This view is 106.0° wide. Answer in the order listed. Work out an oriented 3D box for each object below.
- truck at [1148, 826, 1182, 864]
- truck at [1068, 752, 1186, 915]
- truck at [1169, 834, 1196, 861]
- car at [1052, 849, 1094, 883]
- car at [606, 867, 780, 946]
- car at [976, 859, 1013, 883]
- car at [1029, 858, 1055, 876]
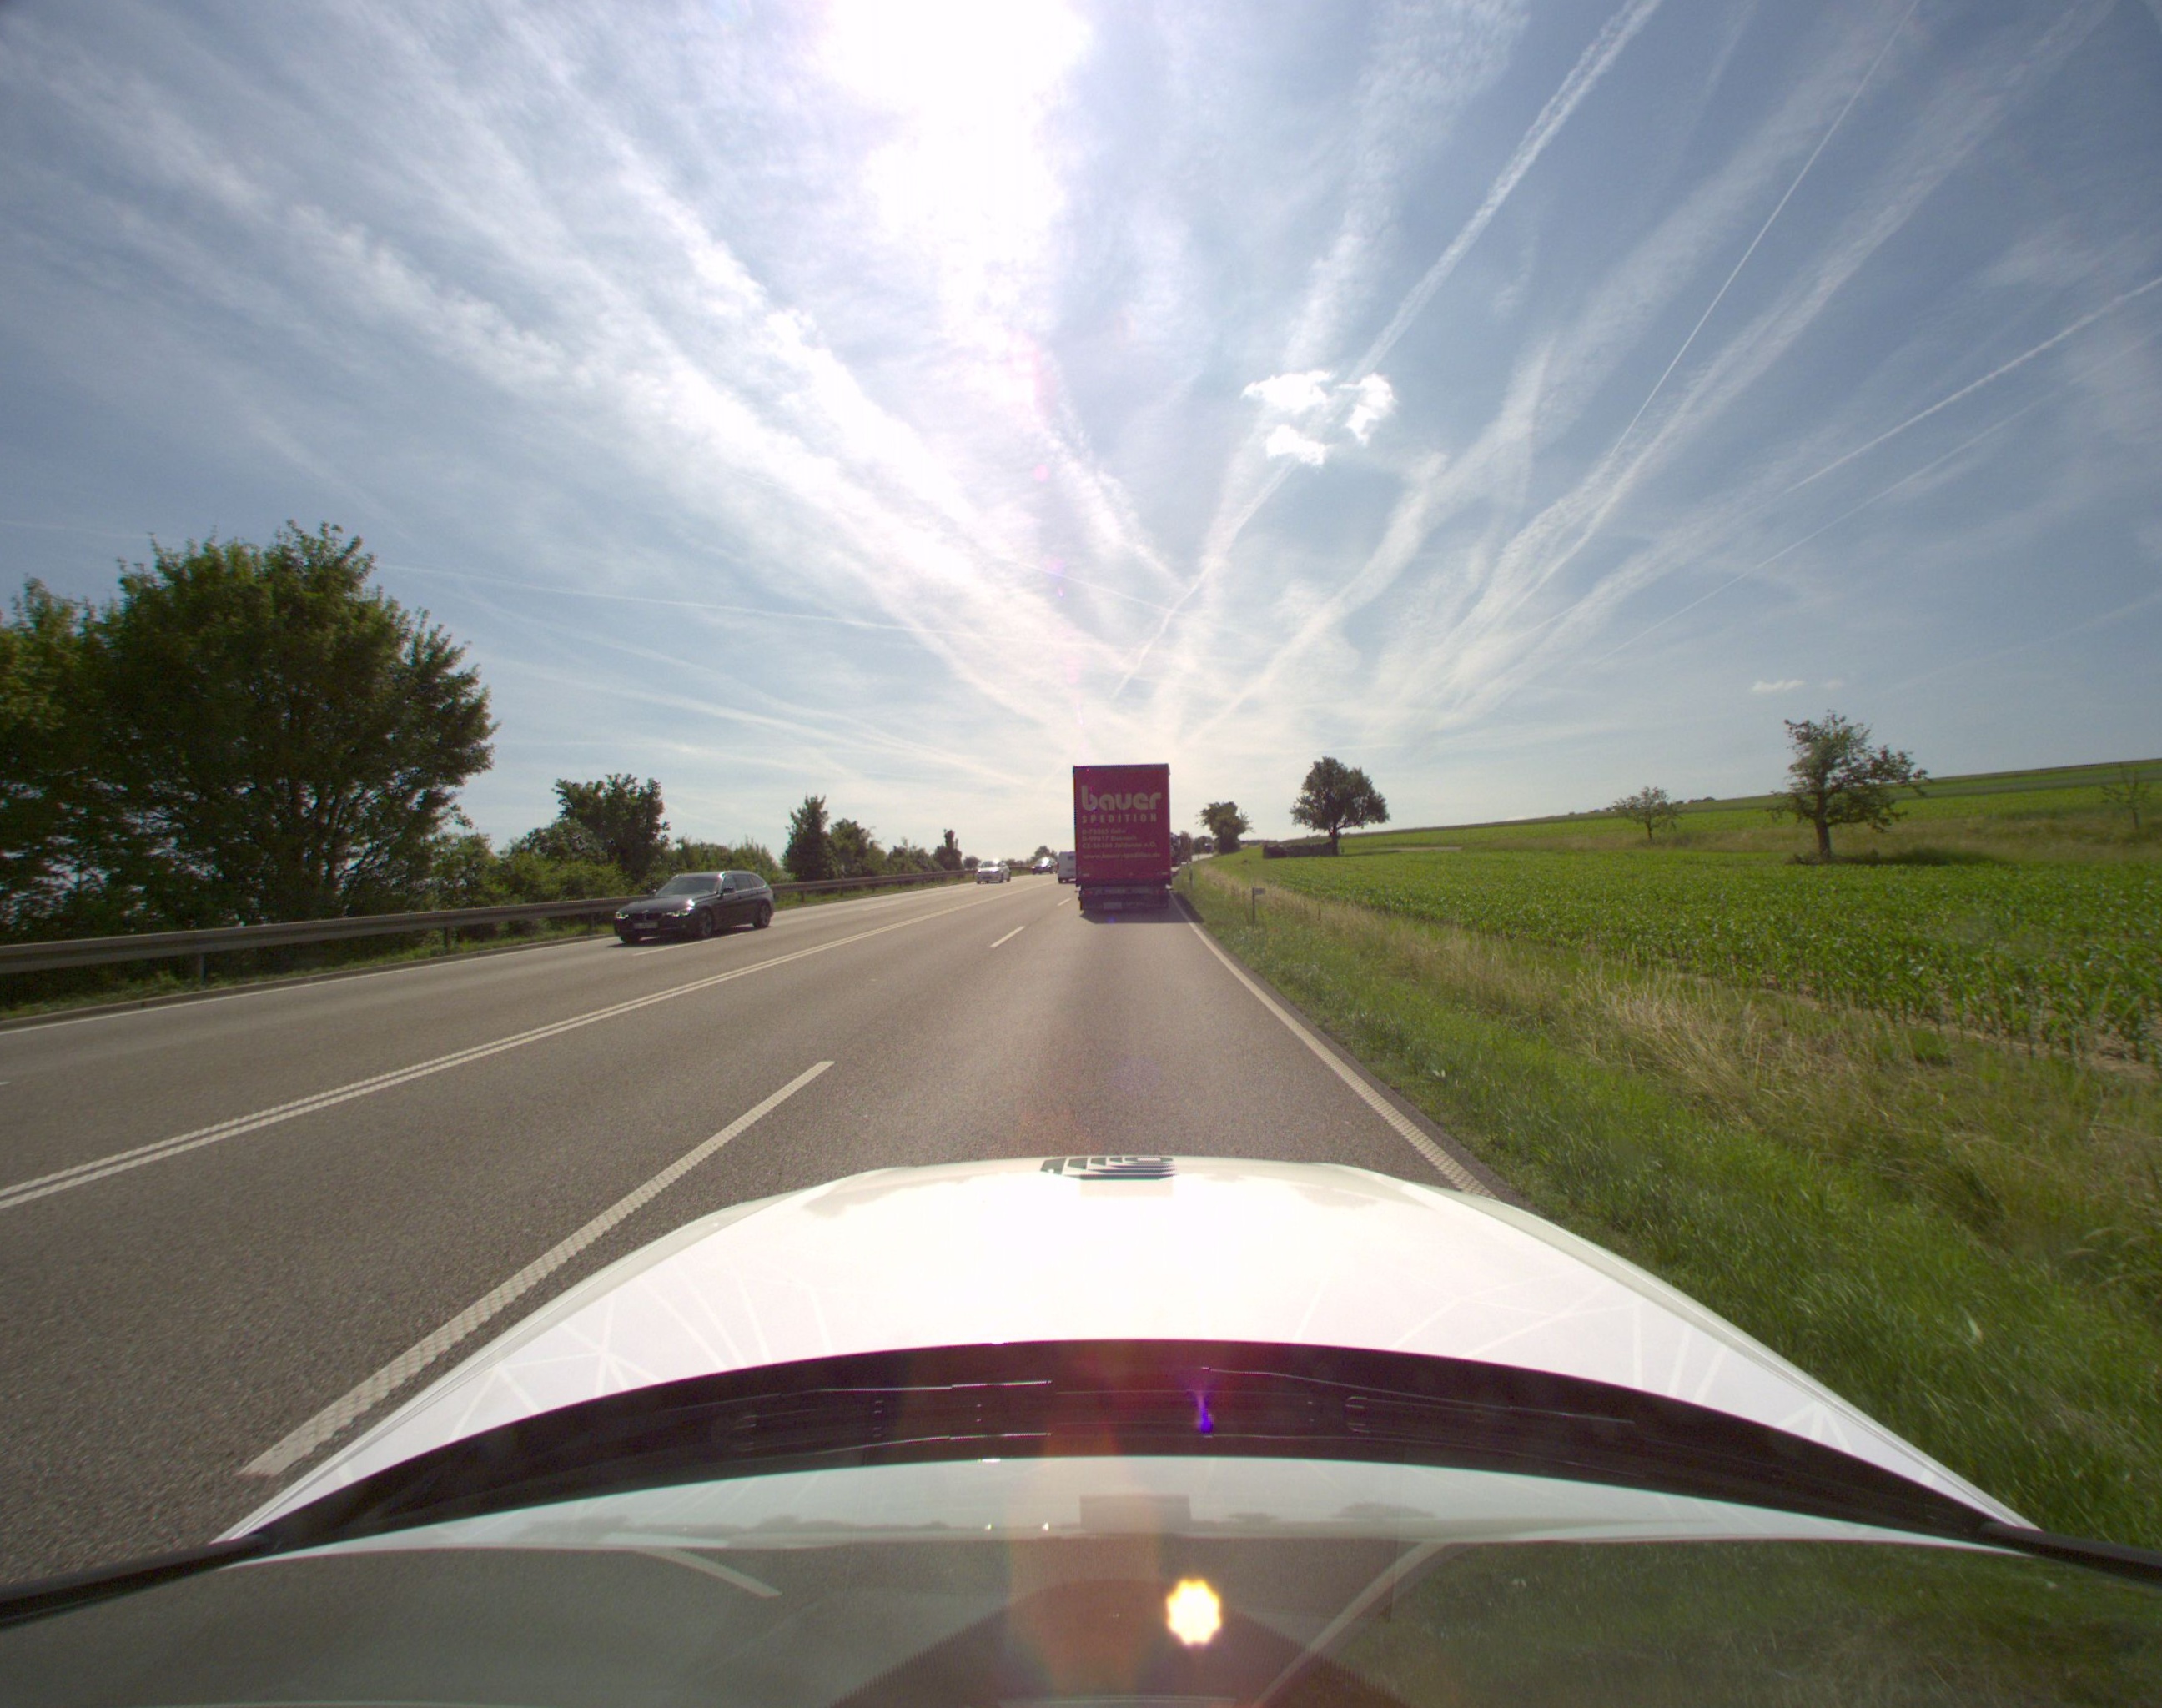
[{"bbox_3d":[9.880,-0.973,94.704,3.029,3.910,15.653,-2,0,9],"label":"truck"},{"bbox_3d":[1.665,-0.525,29.500,2.994,4.180,16.727,-1,0,3],"label":"truck"},{"bbox_3d":[16.163,-0.991,128.305,3.028,3.910,18.450,-2,0,10],"label":"truck"},{"bbox_3d":[-0.405,0.673,49.240,1.896,1.884,5.440,-2,0,6],"label":"car"},{"bbox_3d":[-8.621,1.097,18.557,1.711,1.461,4.218,-2,0,3],"label":"car"},{"bbox_3d":[-5.652,1.087,53.456,1.649,1.457,3.740,-2,0,6],"label":"car"},{"bbox_3d":[-3.586,1.192,75.982,1.828,1.455,4.330,-3,0,4],"label":"car"}]
